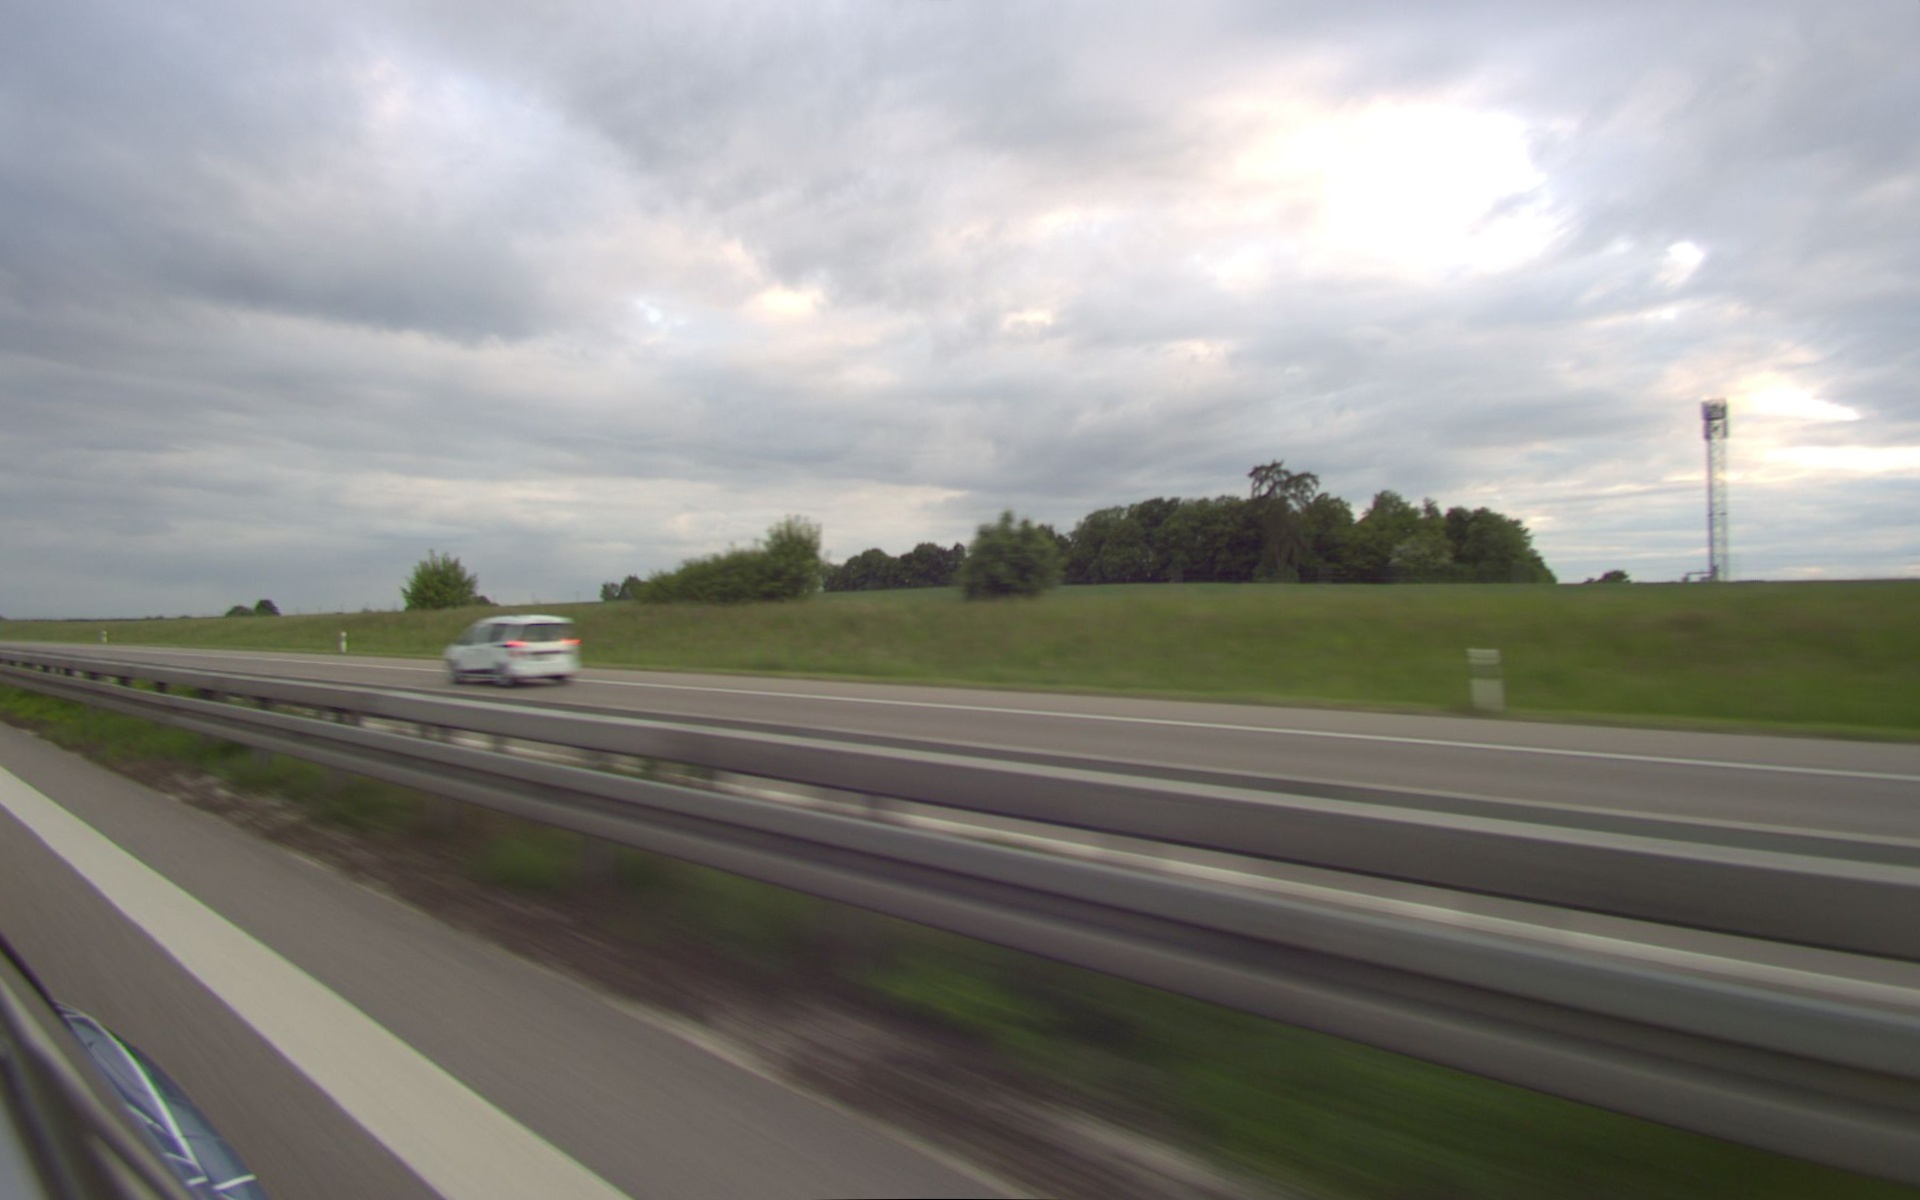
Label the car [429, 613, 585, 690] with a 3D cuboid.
[{"bbox_3d":[-11.881,1.286,26.366,4.991,1.816,1.742,-1,-2,41],"label":"car"}]
